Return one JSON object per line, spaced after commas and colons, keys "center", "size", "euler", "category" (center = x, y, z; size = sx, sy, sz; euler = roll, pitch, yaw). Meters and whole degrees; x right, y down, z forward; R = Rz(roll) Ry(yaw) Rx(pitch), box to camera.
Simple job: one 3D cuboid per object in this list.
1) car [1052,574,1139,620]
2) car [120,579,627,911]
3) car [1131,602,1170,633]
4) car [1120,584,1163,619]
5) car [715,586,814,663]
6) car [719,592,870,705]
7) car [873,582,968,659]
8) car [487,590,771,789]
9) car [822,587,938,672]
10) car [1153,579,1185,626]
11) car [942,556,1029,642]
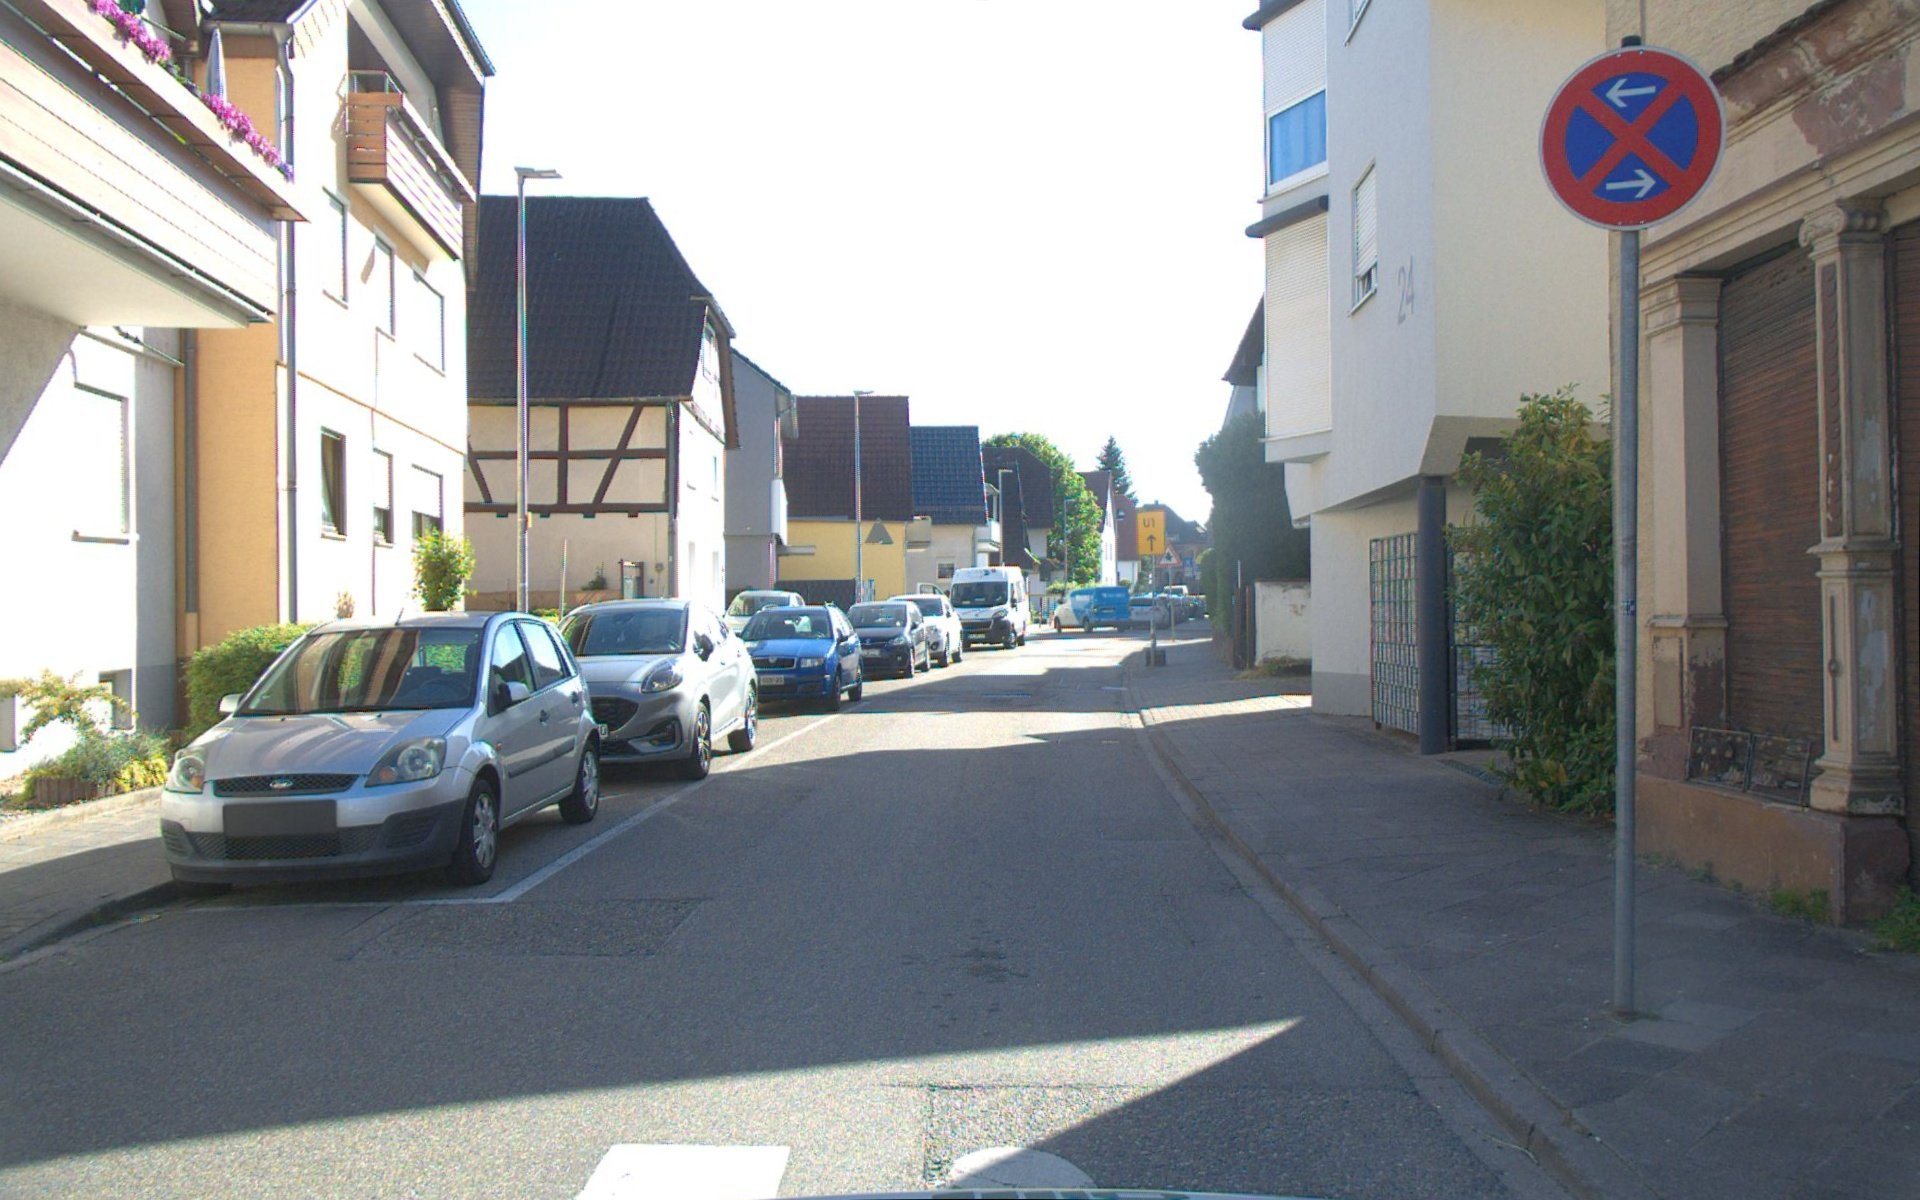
{"center": [5.761, -0.120, 70.988], "size": [1.892, 1.833, 4.753], "euler": [-3, 1, -19], "category": "car"}
{"center": [-3.274, 0.700, 10.065], "size": [1.597, 1.532, 3.853], "euler": [-4, 0, 0], "category": "car"}
{"center": [9.450, 0.894, 82.227], "size": [1.805, 1.437, 4.002], "euler": [1, -2, 5], "category": "car"}
{"center": [8.269, 0.105, 75.555], "size": [1.805, 1.437, 4.002], "euler": [1, -2, 5], "category": "car"}
{"center": [-4.414, 0.511, 37.930], "size": [1.686, 1.624, 4.017], "euler": [1, 1, 1], "category": "car"}
{"center": [-2.316, 0.655, 24.072], "size": [1.604, 1.466, 4.076], "euler": [-2, 0, 2], "category": "car"}
{"center": [-0.854, 0.439, 37.993], "size": [1.638, 1.599, 3.968], "euler": [-2, 0, 6], "category": "car"}
{"center": [-2.857, 0.698, 15.155], "size": [1.639, 1.532, 4.095], "euler": [-2, 0, 2], "category": "car"}
{"center": [-1.557, 0.568, 33.613], "size": [1.667, 1.545, 4.125], "euler": [-2, 0, 6], "category": "car"}
{"center": [12.745, 0.193, 100.759], "size": [1.805, 2.685, 4.003], "euler": [1, -2, 8], "category": "car"}
{"center": [0.851, -0.028, 51.005], "size": [2.033, 2.436, 5.212], "euler": [-2, 0, 8], "category": "car"}
